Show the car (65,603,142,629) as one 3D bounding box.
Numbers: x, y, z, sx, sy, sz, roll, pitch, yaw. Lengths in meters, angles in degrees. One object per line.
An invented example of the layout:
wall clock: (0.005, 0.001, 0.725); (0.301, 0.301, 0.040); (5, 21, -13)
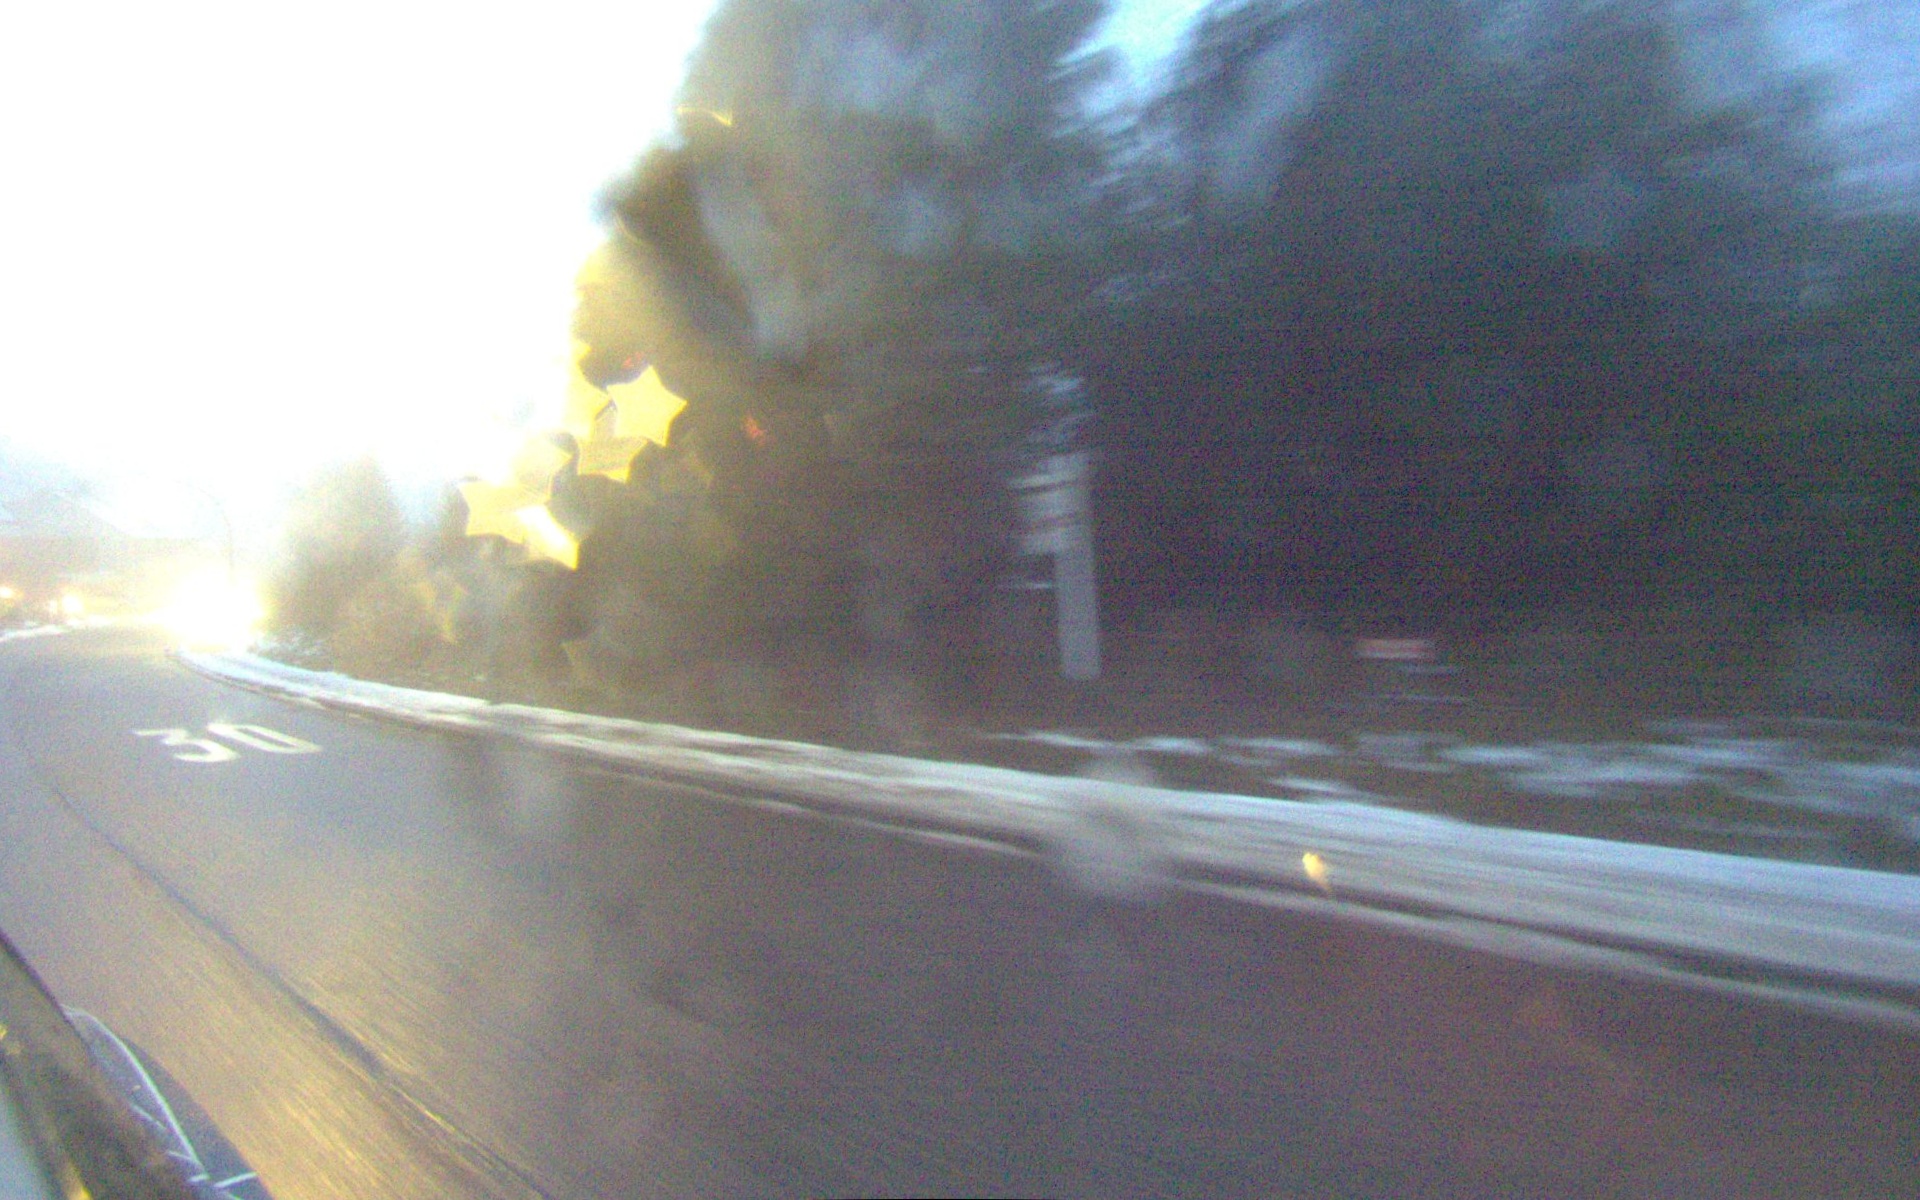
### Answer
car: (-67.071, 1.263, 79.271); (4.148, 1.872, 1.917); (2, 1, -15)
